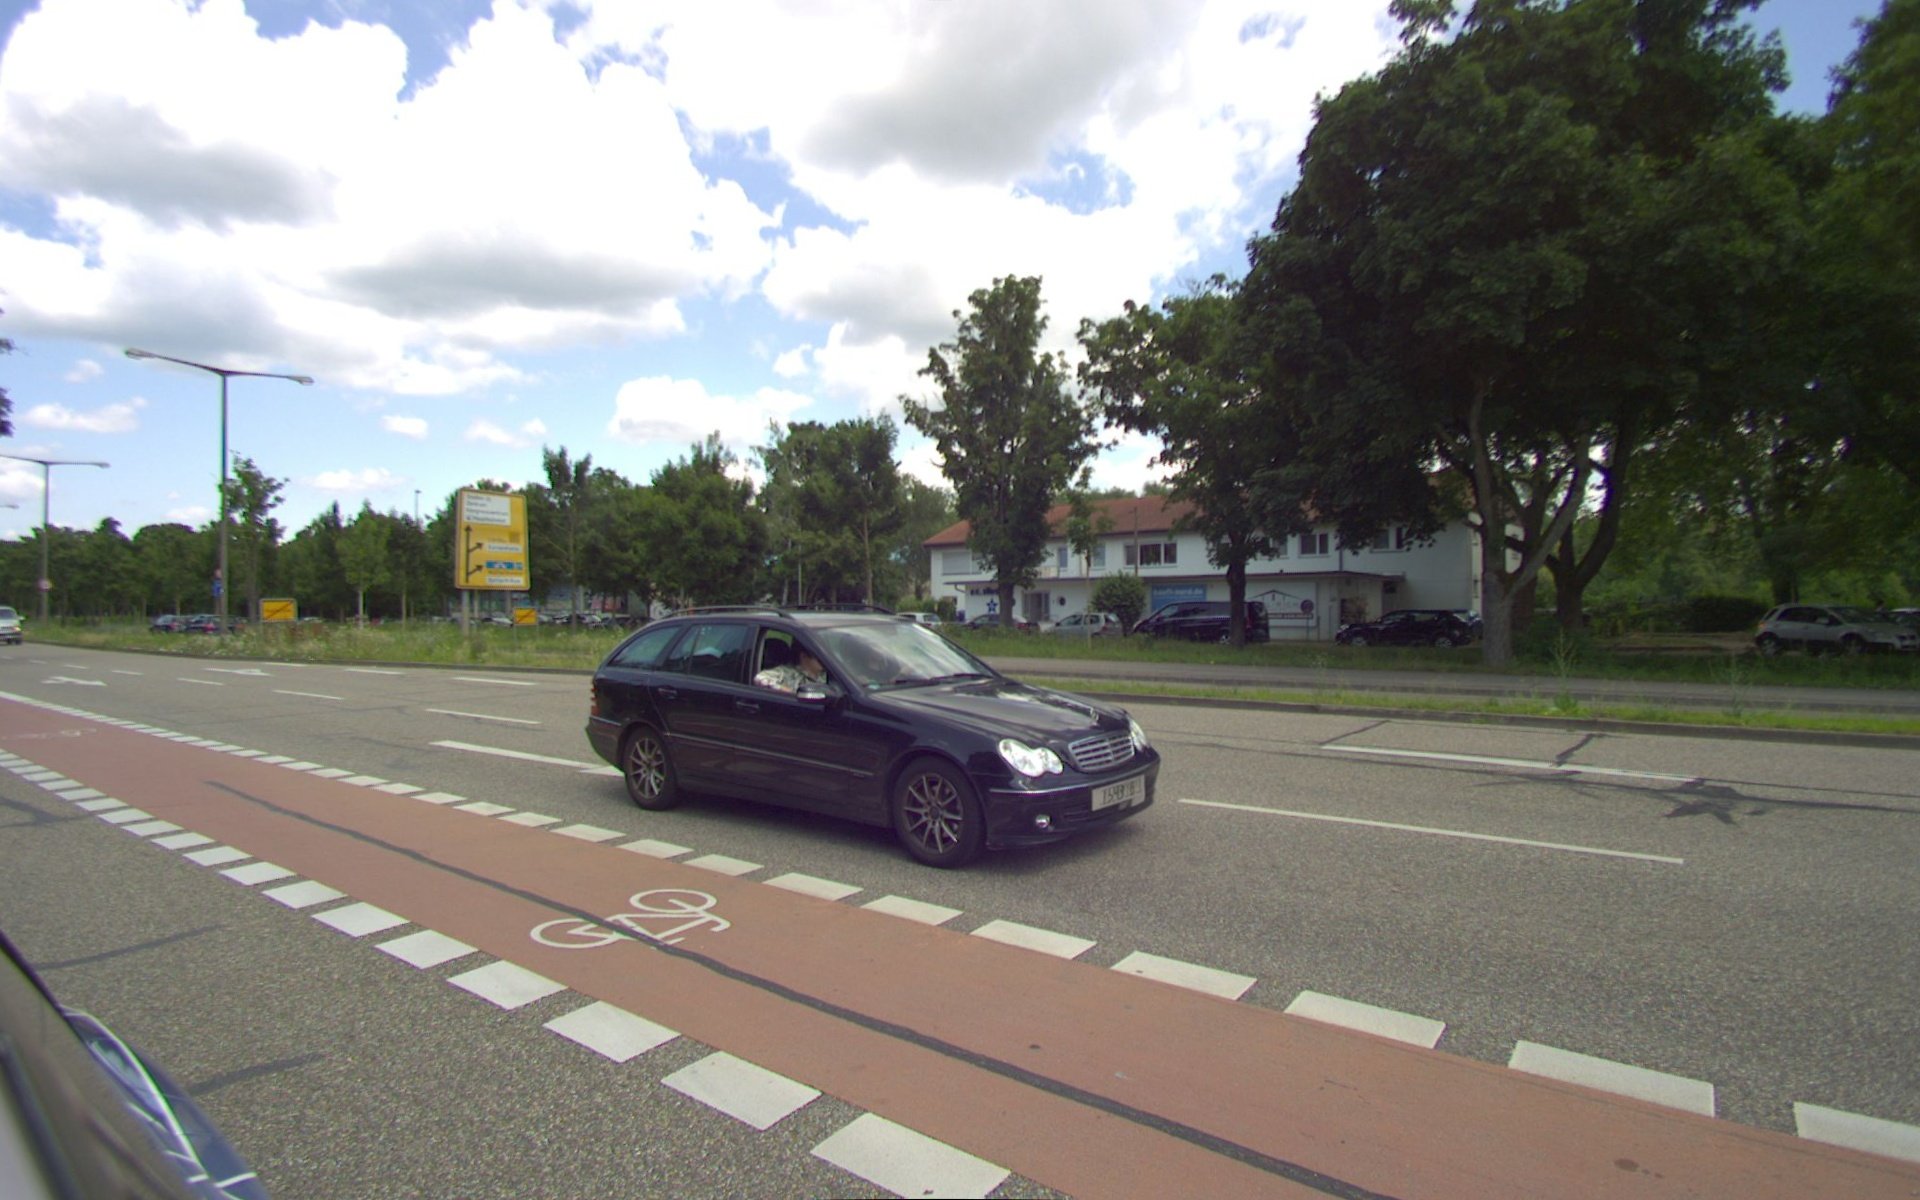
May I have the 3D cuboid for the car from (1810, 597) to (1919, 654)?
[{"bbox_3d":[27.758,0.729,29.577,1.966,1.600,4.033,0,-1,-14],"label":"car"}]

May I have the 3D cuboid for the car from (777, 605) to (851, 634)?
[{"bbox_3d":[-7.646,1.026,52.884,3.864,1.422,1.707,-1,-2,41],"label":"car"}]

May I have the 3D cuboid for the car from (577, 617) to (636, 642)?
[{"bbox_3d":[-23.640,1.943,67.605,4.021,1.600,1.973,-1,-2,41],"label":"car"}]

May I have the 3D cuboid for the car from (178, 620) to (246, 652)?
[{"bbox_3d":[-35.037,1.677,47.396,3.689,1.457,1.665,-1,-2,39],"label":"car"}]

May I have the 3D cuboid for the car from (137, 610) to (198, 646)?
[{"bbox_3d":[-47.443,1.667,60.579,3.994,2.029,1.974,-1,-2,38],"label":"car"}]

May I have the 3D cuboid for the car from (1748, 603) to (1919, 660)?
[{"bbox_3d":[25.270,0.880,28.858,1.966,1.495,4.033,0,-1,-14],"label":"car"}]

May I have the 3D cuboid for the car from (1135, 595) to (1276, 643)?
[{"bbox_3d":[9.289,0.751,38.607,4.927,1.724,1.863,-1,-2,41],"label":"car"}]

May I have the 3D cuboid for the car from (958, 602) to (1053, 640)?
[{"bbox_3d":[1.989,0.951,45.080,4.021,1.600,1.740,-1,-2,41],"label":"car"}]

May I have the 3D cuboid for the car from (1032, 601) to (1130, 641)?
[{"bbox_3d":[5.073,0.880,42.528,3.664,1.600,1.896,-1,-2,41],"label":"car"}]

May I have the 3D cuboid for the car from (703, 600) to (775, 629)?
[{"bbox_3d":[-12.464,0.827,57.058,4.021,1.600,1.973,-1,-2,41],"label":"car"}]

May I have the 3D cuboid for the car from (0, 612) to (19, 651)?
[{"bbox_3d":[-49.929,1.601,51.854,5.226,1.933,1.795,-1,-2,39],"label":"car"}]

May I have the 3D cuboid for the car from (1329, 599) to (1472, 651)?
[{"bbox_3d":[15.055,0.832,34.632,4.347,1.670,1.794,-1,0,30],"label":"car"}]

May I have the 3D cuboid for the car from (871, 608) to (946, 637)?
[{"bbox_3d":[-2.504,1.100,48.589,3.475,1.342,1.604,-1,-2,41],"label":"car"}]

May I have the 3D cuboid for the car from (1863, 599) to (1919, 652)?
[{"bbox_3d":[30.042,0.747,30.291,1.966,1.600,4.033,0,-3,-14],"label":"car"}]

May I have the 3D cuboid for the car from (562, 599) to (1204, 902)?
[{"bbox_3d":[-0.746,0.758,7.024,4.427,1.477,1.738,-1,0,38],"label":"car"}]
